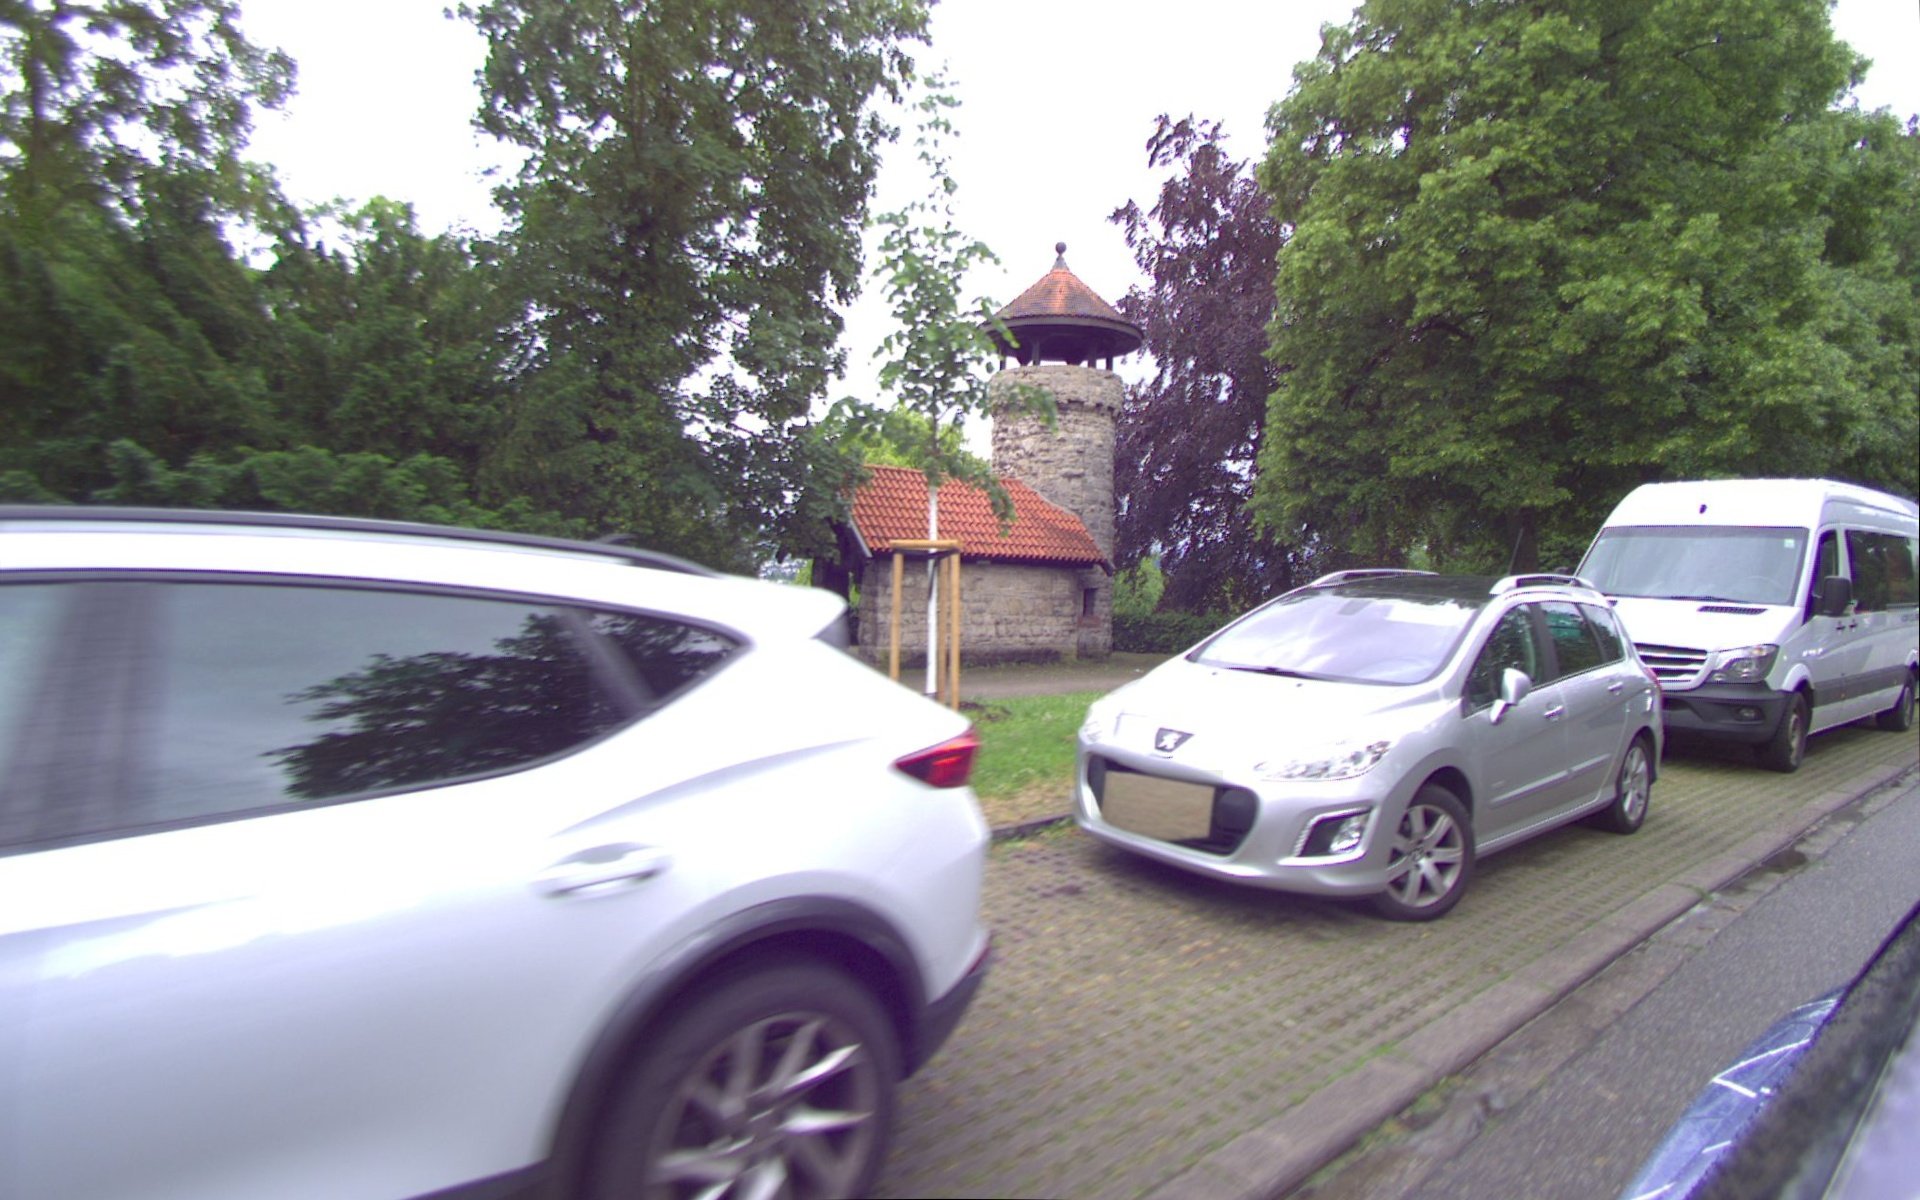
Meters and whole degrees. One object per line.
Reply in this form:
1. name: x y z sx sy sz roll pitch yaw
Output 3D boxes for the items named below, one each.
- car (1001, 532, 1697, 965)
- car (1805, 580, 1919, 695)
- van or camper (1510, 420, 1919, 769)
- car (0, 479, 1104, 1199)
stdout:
1. car: 2.413 0.491 5.733 4.191 1.557 1.810 0 4 -40
2. car: 14.389 0.530 15.070 3.653 1.530 1.872 1 2 -35
3. van or camper: 8.923 -0.035 10.923 8.280 2.615 2.022 1 2 -38
4. car: -2.031 0.571 1.814 4.484 1.516 1.999 0 2 -39
